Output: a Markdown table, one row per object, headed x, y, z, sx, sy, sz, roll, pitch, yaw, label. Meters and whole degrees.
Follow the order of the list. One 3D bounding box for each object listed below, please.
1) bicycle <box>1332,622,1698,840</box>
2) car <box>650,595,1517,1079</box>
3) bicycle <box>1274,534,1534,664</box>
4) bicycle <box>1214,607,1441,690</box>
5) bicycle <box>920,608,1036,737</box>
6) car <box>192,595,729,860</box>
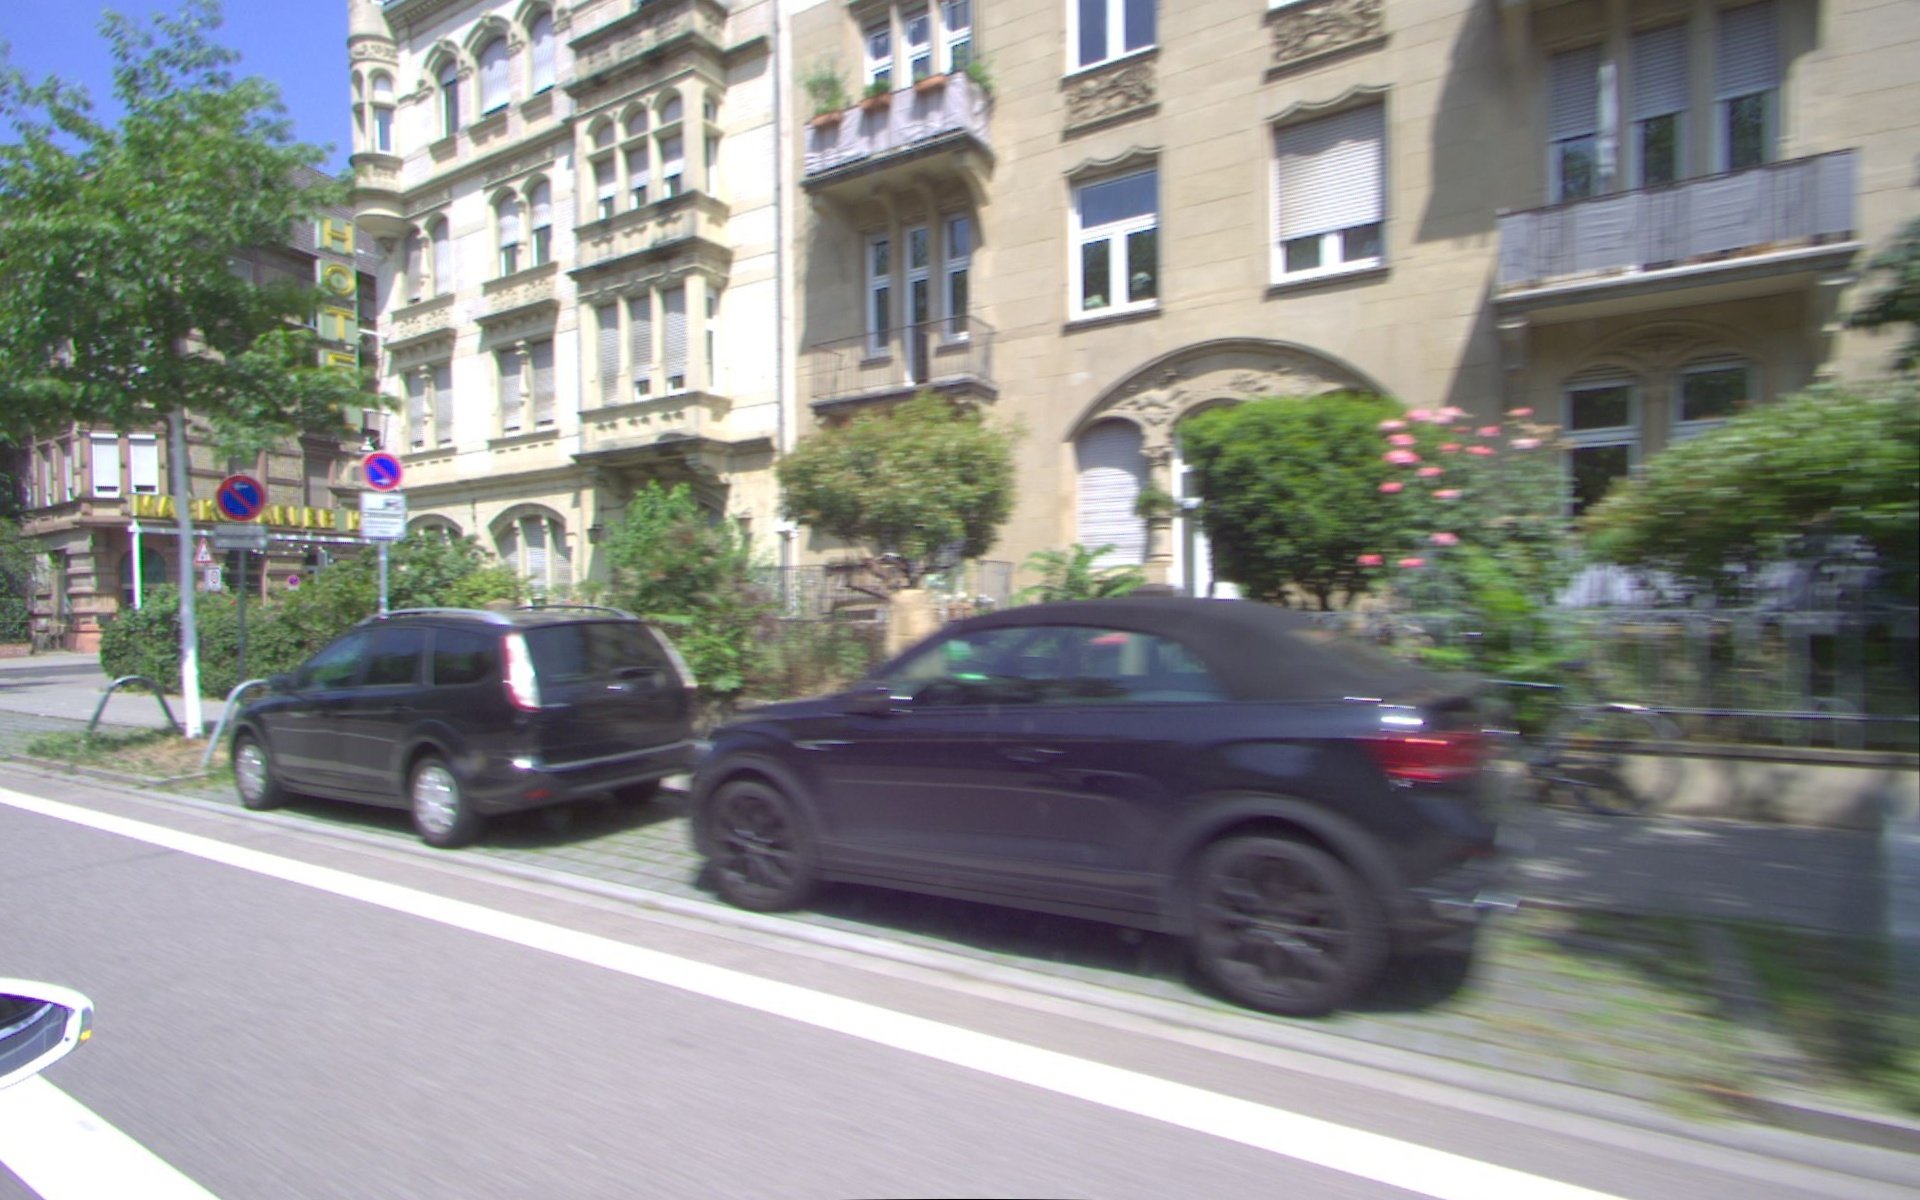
| x | y | z | sx | sy | sz | roll | pitch | yaw | label |
| --- | --- | --- | --- | --- | --- | --- | --- | --- | --- |
| 3.629 | 0.791 | 6.699 | 2.062 | 1.278 | 0.591 | -1 | 0 | 32 | bicycle |
| 0.467 | 0.779 | 4.967 | 3.955 | 1.551 | 1.664 | -1 | 0 | 32 | car |
| 4.968 | -0.002 | 11.343 | 2.651 | 1.350 | 0.563 | 0 | 1 | 31 | bicycle |
| 4.738 | 0.604 | 13.052 | 2.719 | 0.999 | 0.582 | -1 | 0 | 32 | bicycle |
| 0.225 | 0.692 | 10.275 | 0.338 | 1.091 | 1.684 | 0 | 4 | 32 | bicycle |
| -3.985 | 0.781 | 7.771 | 4.341 | 1.556 | 1.726 | -1 | -1 | 32 | car |
